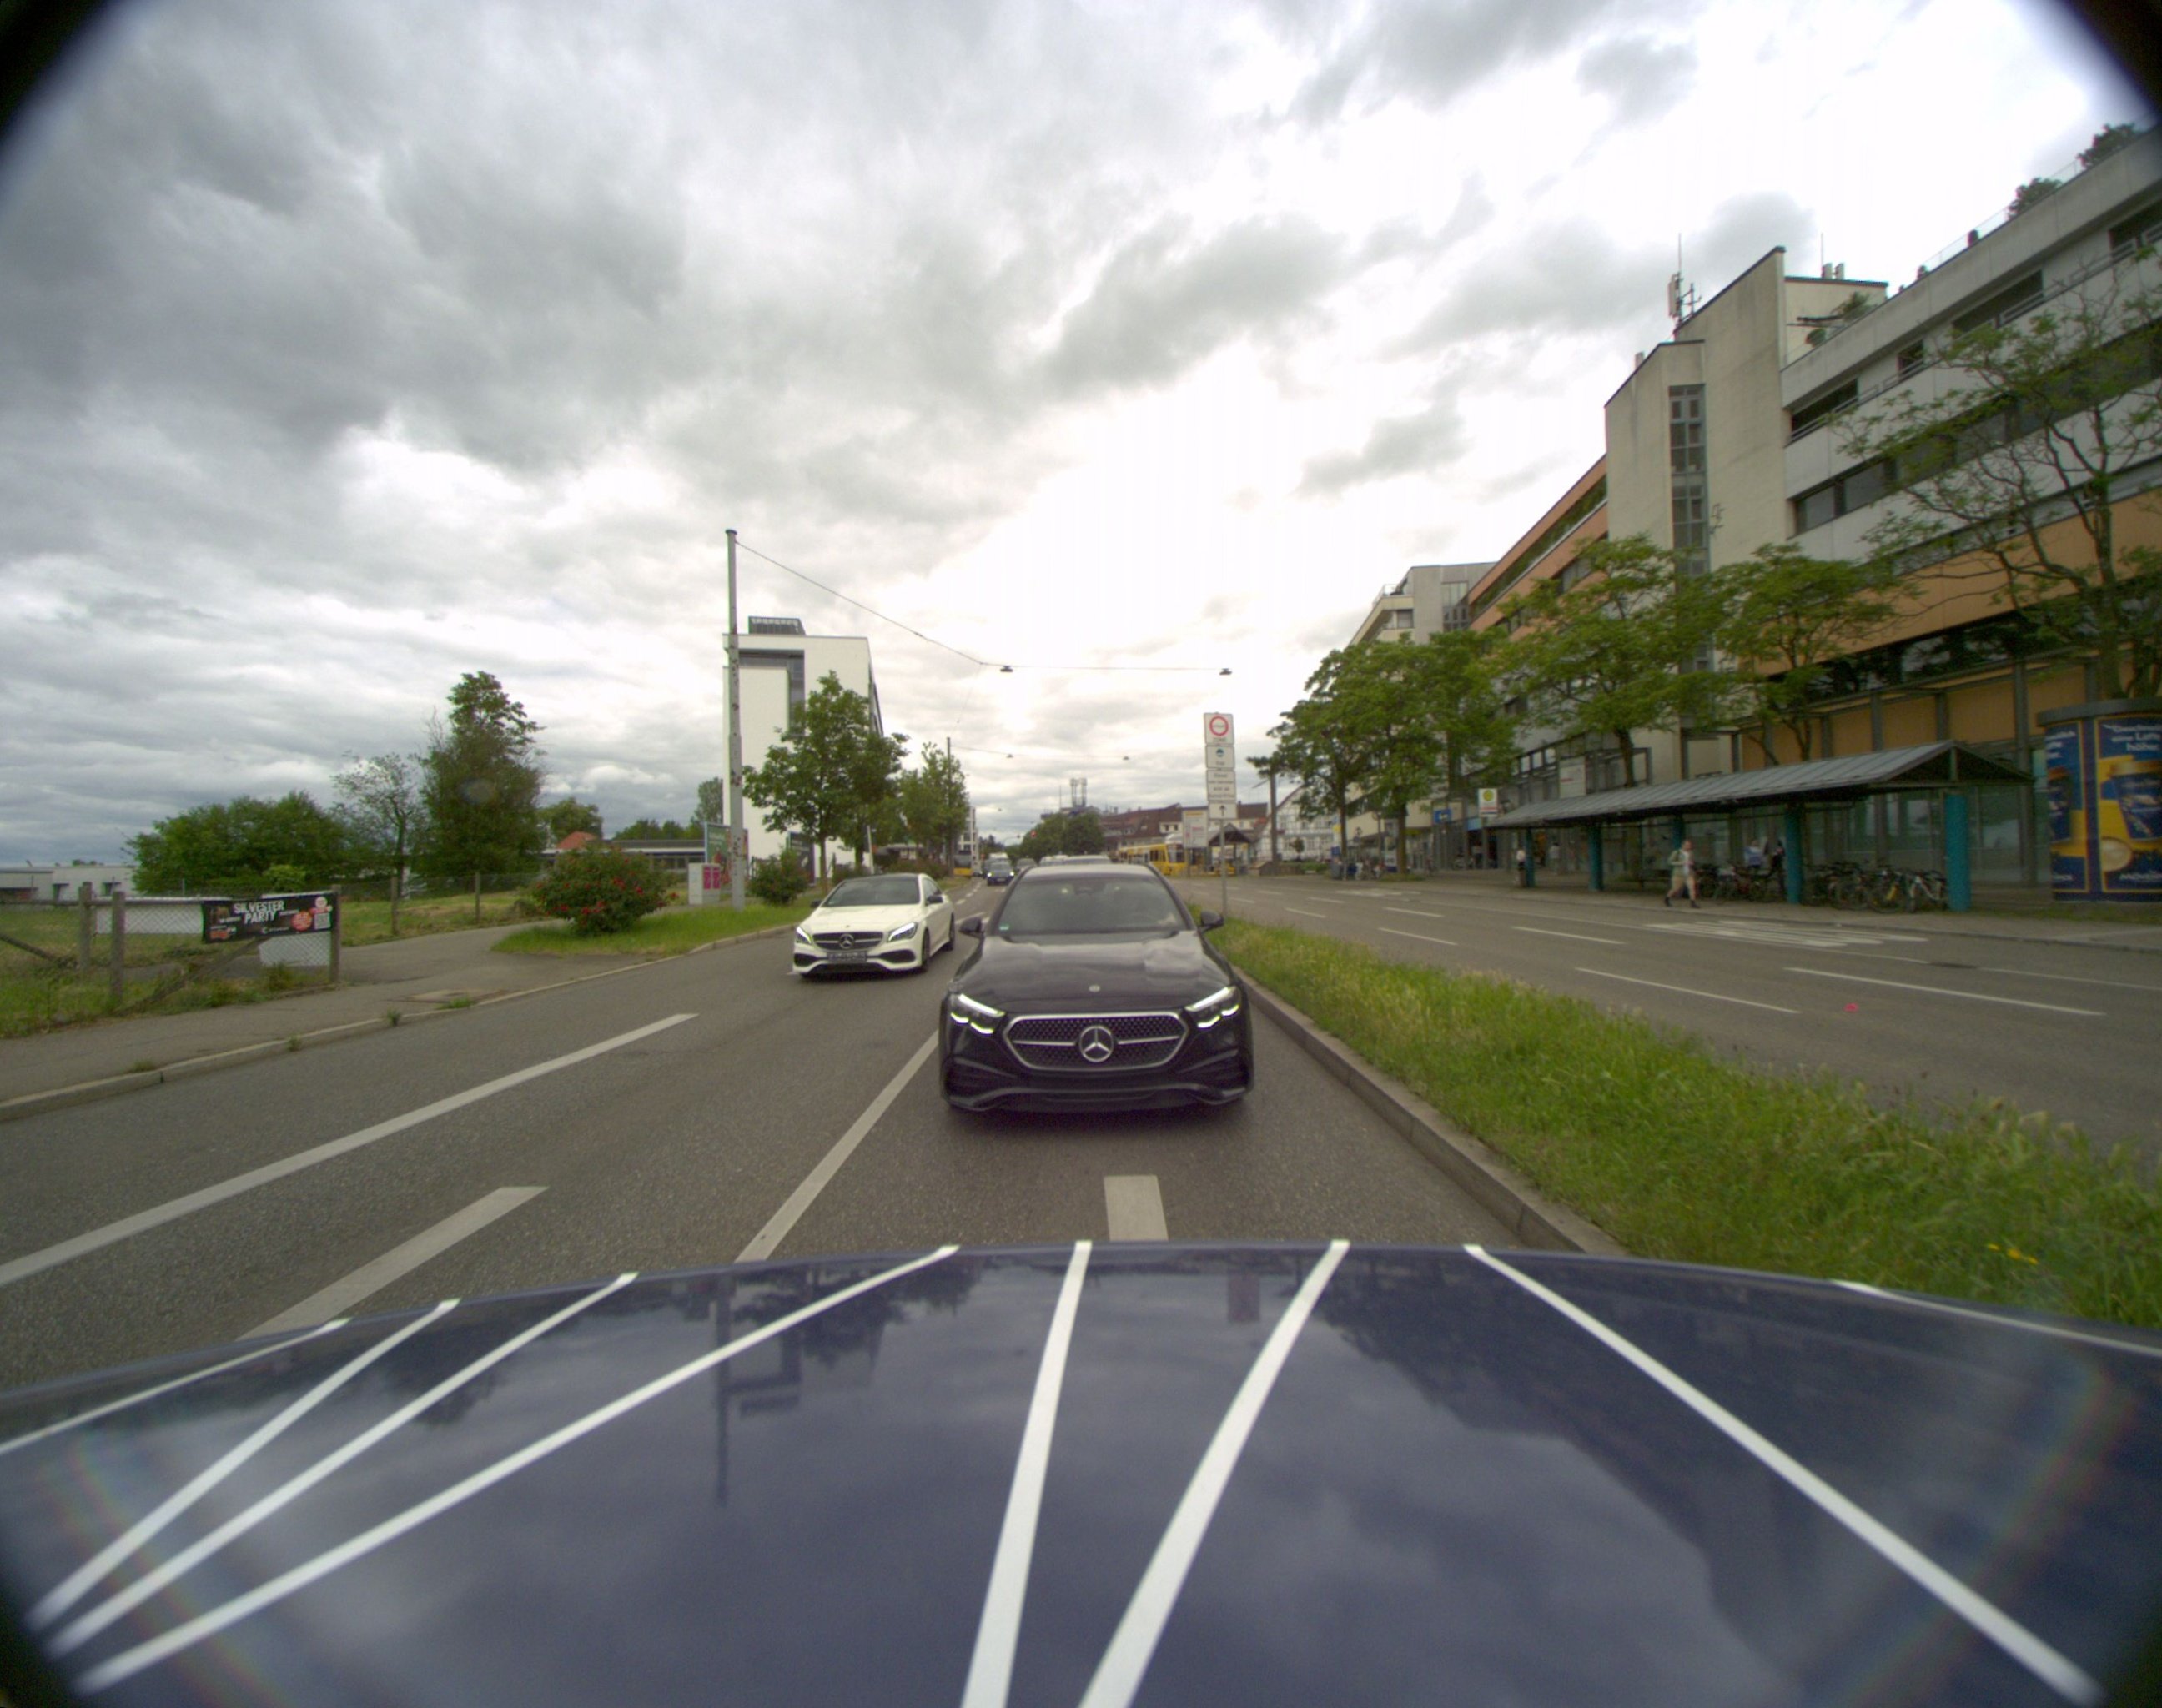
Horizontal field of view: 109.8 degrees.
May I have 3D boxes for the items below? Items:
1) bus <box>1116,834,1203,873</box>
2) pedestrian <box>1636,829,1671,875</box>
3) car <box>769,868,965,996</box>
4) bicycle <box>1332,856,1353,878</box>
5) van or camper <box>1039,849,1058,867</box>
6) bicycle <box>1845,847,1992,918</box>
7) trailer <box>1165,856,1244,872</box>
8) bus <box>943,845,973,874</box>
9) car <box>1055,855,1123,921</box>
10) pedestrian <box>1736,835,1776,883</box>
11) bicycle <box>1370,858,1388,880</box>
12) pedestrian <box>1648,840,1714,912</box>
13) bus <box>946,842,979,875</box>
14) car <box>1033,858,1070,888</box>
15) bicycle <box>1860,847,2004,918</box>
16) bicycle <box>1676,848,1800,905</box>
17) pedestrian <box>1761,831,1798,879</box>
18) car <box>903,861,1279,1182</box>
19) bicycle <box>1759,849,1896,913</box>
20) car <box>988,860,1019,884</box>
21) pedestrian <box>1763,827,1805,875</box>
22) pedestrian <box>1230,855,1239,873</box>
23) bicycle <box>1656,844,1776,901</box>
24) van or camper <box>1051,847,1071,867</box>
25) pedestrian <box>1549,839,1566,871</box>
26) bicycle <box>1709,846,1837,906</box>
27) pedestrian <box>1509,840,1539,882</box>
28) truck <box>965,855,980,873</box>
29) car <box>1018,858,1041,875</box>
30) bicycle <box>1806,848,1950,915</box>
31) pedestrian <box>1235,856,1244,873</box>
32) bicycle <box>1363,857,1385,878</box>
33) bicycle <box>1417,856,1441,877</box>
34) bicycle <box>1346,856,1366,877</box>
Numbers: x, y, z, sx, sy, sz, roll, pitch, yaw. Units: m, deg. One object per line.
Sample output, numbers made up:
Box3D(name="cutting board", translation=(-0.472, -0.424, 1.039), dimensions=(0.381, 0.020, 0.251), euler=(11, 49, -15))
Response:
Box3D(name="bus", translation=(8.193, 0.100, 84.067), dimensions=(3.891, 3.836, 19.324), euler=(-1, -1, -12))
Box3D(name="pedestrian", translation=(21.695, -0.076, 28.819), dimensions=(0.774, 1.706, 0.787), euler=(-3, 0, 17))
Box3D(name="car", translation=(-3.137, 1.049, 12.236), dimensions=(1.873, 1.496, 4.772), euler=(-2, 0, -2))
Box3D(name="bicycle", translation=(14.792, 0.712, 43.026), dimensions=(0.603, 1.154, 1.969), euler=(-4, -1, 33))
Box3D(name="van or camper", translation=(-4.807, 0.585, 111.360), dimensions=(2.000, 2.582, 6.111), euler=(1, -1, -9))
Box3D(name="bicycle", translation=(18.828, 0.623, 17.096), dimensions=(2.908, 1.498, 0.700), euler=(-1, 0, -8))
Box3D(name="trailer", translation=(10.776, 0.920, 68.293), dimensions=(2.851, 1.325, 12.115), euler=(-1, -1, -12))
Box3D(name="bus", translation=(-14.684, 0.692, 90.326), dimensions=(3.047, 3.216, 9.329), euler=(-1, -1, -12))
Box3D(name="car", translation=(0.221, 0.901, 22.250), dimensions=(1.735, 1.680, 4.369), euler=(-2, 0, 0))
Box3D(name="pedestrian", translation=(23.122, 0.164, 26.038), dimensions=(0.668, 1.574, 0.706), euler=(-3, 0, -6))
Box3D(name="bicycle", translation=(16.163, 0.788, 41.237), dimensions=(0.603, 1.154, 1.693), euler=(-1, -1, 31))
Box3D(name="pedestrian", translation=(15.998, 0.565, 20.294), dimensions=(0.705, 1.812, 1.213), euler=(-3, 1, -3))
Box3D(name="bus", translation=(-12.736, 0.538, 81.050), dimensions=(2.993, 3.222, 9.856), euler=(-1, -1, -12))
Box3D(name="car", translation=(-1.530, 0.962, 40.581), dimensions=(1.735, 1.474, 4.369), euler=(-2, 0, 0))
Box3D(name="bicycle", translation=(18.843, 0.612, 16.839), dimensions=(2.908, 1.498, 0.598), euler=(-1, 0, -8))
Box3D(name="bicycle", translation=(18.180, 0.608, 21.054), dimensions=(2.908, 1.498, 0.891), euler=(-1, 0, -8))
Box3D(name="pedestrian", translation=(23.947, 0.034, 26.060), dimensions=(0.634, 1.591, 0.622), euler=(-3, 0, -5))
Box3D(name="car", translation=(-0.006, 0.911, 6.382), dimensions=(1.873, 1.542, 4.773), euler=(-4, -1, -2))
Box3D(name="bicycle", translation=(18.504, 0.652, 18.849), dimensions=(2.908, 1.498, 0.805), euler=(-1, 0, -8))
Box3D(name="car", translation=(-5.086, 1.143, 50.335), dimensions=(1.735, 1.474, 4.368), euler=(-2, 0, -3))
Box3D(name="pedestrian", translation=(25.996, -0.104, 28.106), dimensions=(0.772, 1.706, 0.789), euler=(-3, 0, -8))
Box3D(name="pedestrian", translation=(13.891, 0.904, 68.594), dimensions=(0.601, 1.564, 0.620), euler=(-1, 0, -10))
Box3D(name="bicycle", translation=(18.656, 0.538, 22.363), dimensions=(2.908, 1.498, 0.972), euler=(-3, 0, -8))
Box3D(name="van or camper", translation=(-2.753, 0.424, 102.672), dimensions=(2.039, 2.582, 6.112), euler=(1, -1, -7))
Box3D(name="pedestrian", translation=(24.009, 0.048, 38.277), dimensions=(0.633, 1.591, 0.624), euler=(-3, 0, 31))
Box3D(name="bicycle", translation=(18.346, 0.569, 20.171), dimensions=(2.908, 1.498, 0.811), euler=(-1, 0, -7))
Box3D(name="pedestrian", translation=(18.789, 0.295, 32.238), dimensions=(0.777, 1.703, 0.706), euler=(-3, 0, -6))
Box3D(name="truck", translation=(-24.799, 2.404, 173.550), dimensions=(2.948, 3.934, 9.158), euler=(1, -1, -10))
Box3D(name="car", translation=(-4.823, 1.178, 71.695), dimensions=(1.735, 1.544, 4.369), euler=(-2, 0, 0))
Box3D(name="bicycle", translation=(18.746, 0.632, 17.894), dimensions=(2.908, 1.498, 0.778), euler=(-1, 0, -8))
Box3D(name="pedestrian", translation=(14.513, 0.964, 69.681), dimensions=(0.601, 1.564, 0.620), euler=(-1, 0, -10))
Box3D(name="bicycle", translation=(16.445, 0.734, 42.677), dimensions=(0.604, 1.154, 1.966), euler=(-1, -1, 4))
Box3D(name="bicycle", translation=(19.209, 0.678, 41.947), dimensions=(0.672, 1.154, 2.023), euler=(-1, -1, 39))
Box3D(name="bicycle", translation=(15.334, 0.682, 42.329), dimensions=(0.603, 1.154, 1.969), euler=(-1, -1, 32))
